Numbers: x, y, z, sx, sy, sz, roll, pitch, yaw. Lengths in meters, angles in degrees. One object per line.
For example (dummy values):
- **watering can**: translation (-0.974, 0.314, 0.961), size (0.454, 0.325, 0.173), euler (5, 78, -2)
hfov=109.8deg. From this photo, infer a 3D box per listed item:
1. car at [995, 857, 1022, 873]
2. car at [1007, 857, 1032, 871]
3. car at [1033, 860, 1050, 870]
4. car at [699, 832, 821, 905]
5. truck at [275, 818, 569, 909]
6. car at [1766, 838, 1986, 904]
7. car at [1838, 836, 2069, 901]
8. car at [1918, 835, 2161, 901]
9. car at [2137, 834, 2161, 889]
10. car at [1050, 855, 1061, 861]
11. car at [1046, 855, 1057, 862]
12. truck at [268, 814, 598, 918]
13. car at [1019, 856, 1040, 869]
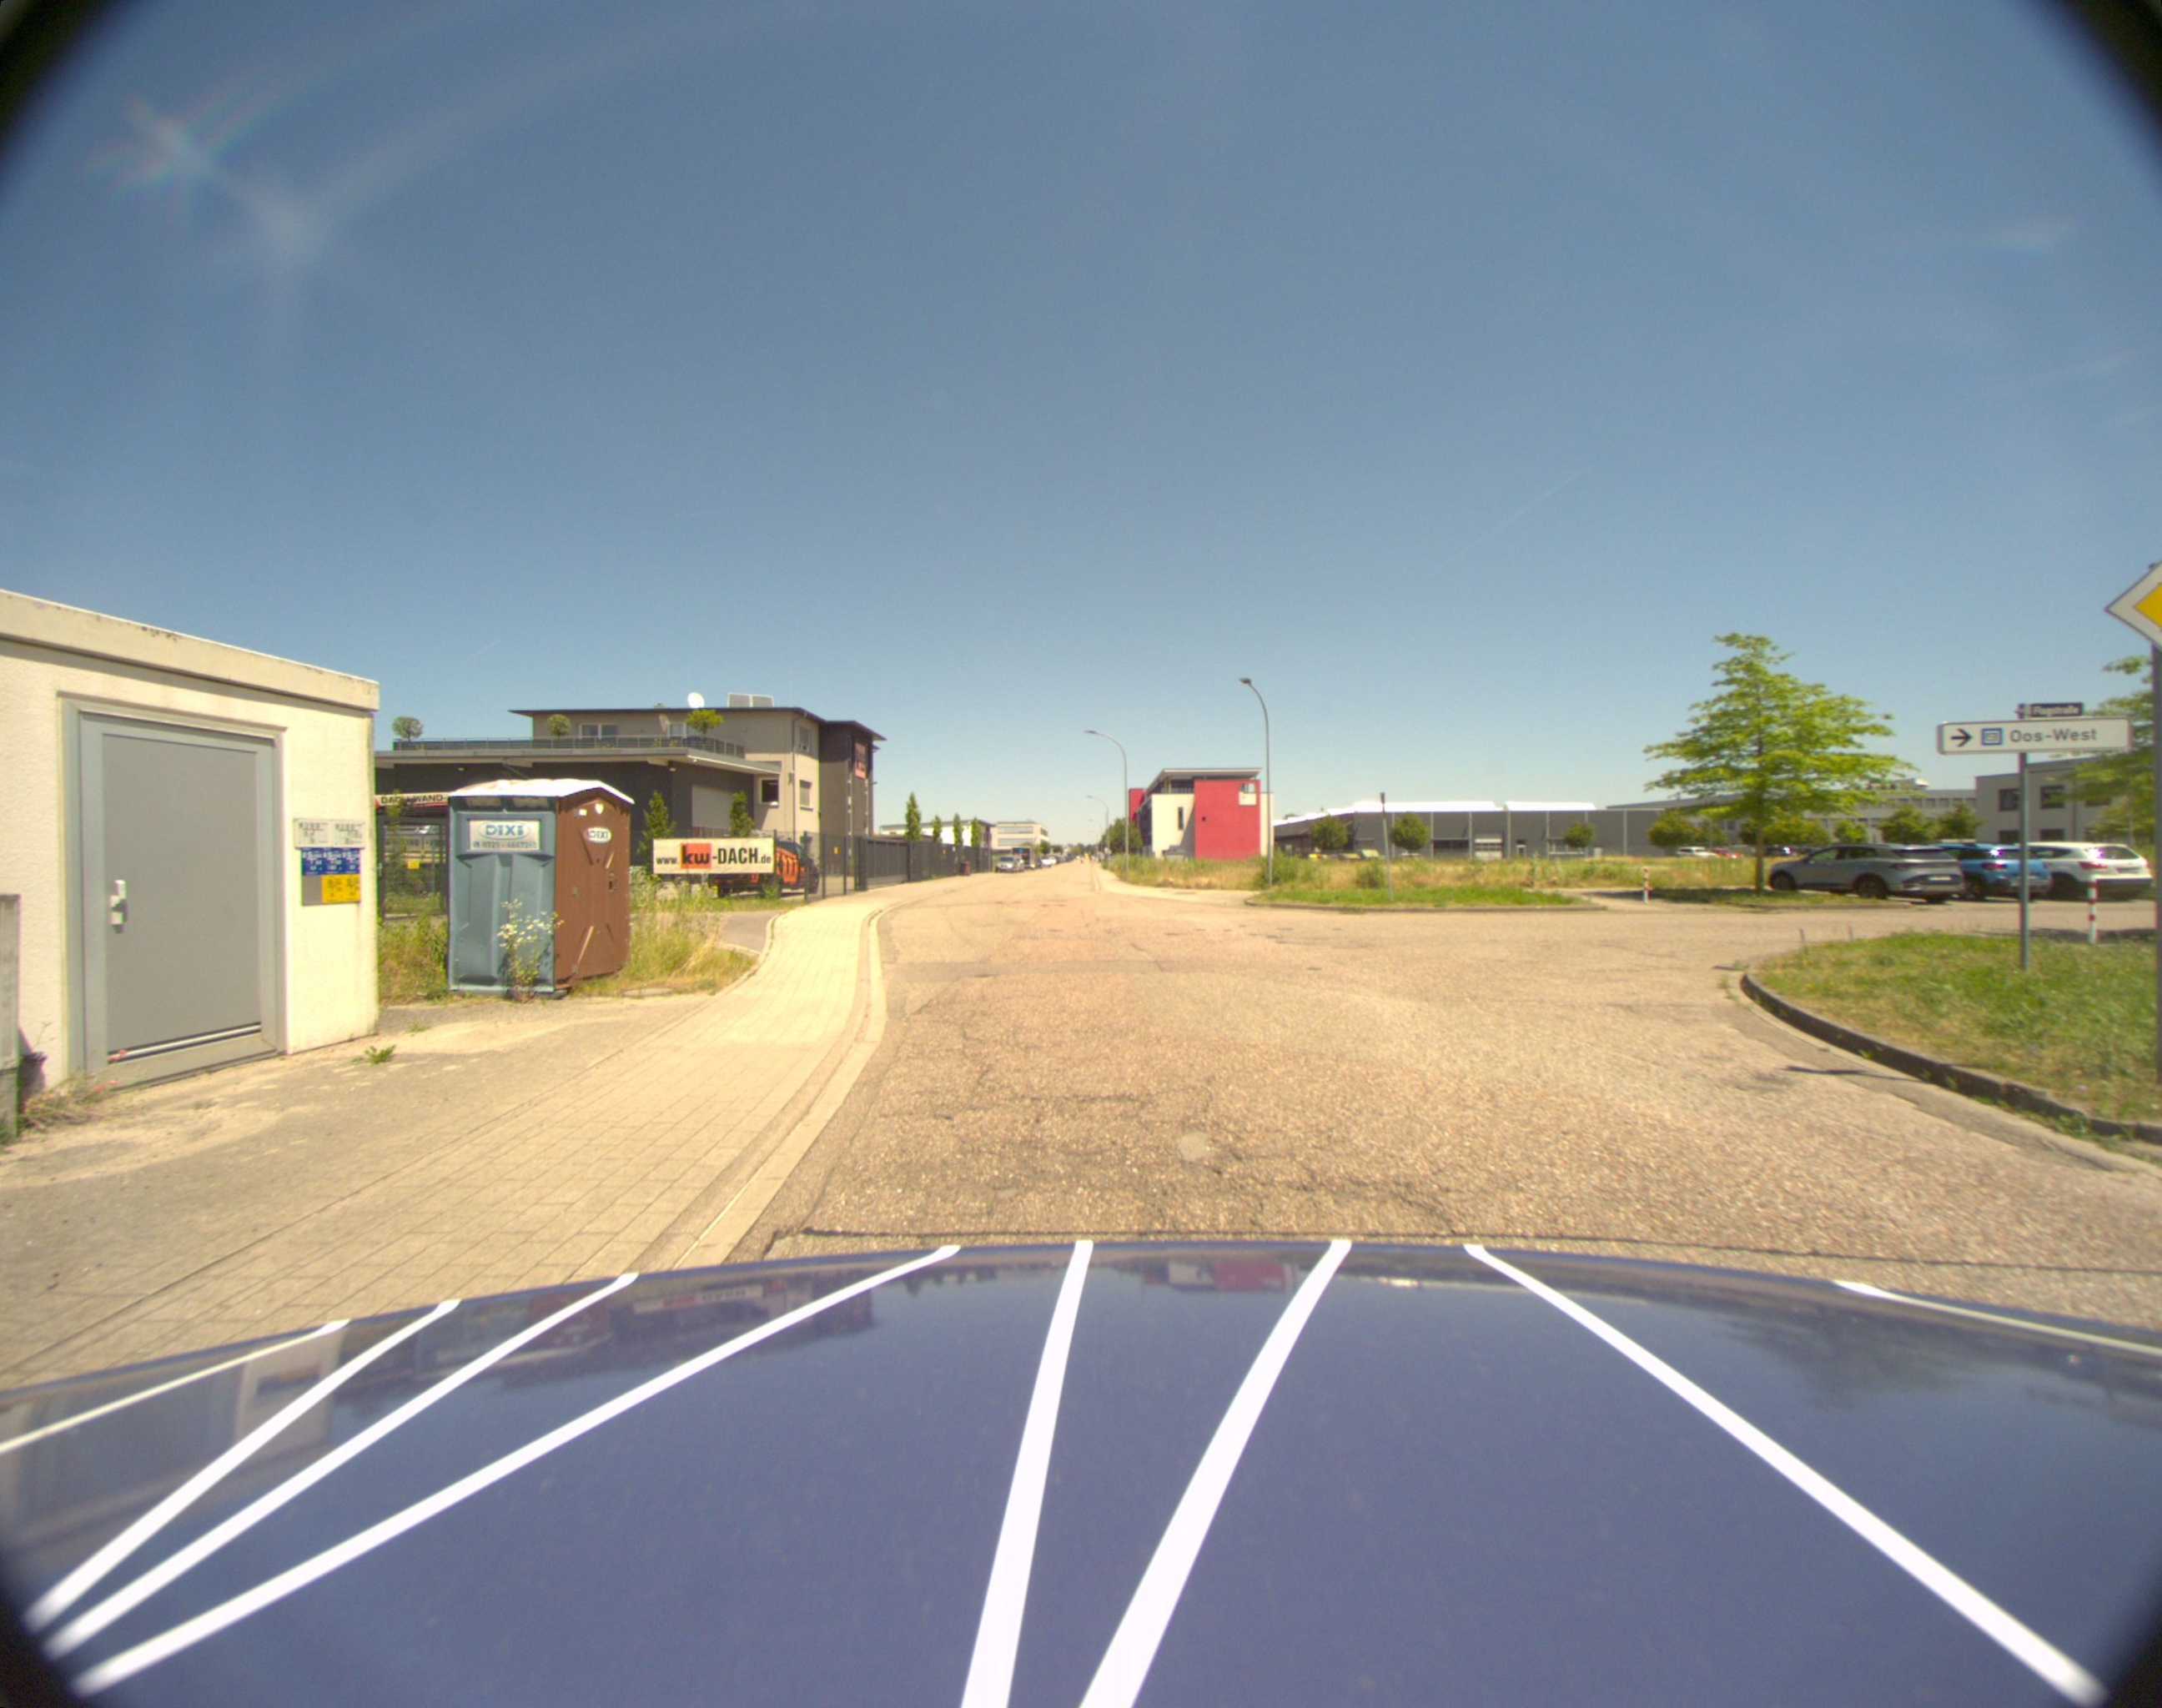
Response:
- **car**: translation (-6.205, 0.939, 65.322), size (1.828, 1.269, 3.886), euler (0, 0, 1)
- **car**: translation (-5.634, 0.923, 70.150), size (1.828, 1.269, 3.886), euler (0, 0, 1)
- **car**: translation (-5.124, 1.400, 98.515), size (1.828, 1.269, 3.886), euler (0, 0, 1)
- **car**: translation (-10.383, 0.436, 25.042), size (1.919, 2.149, 4.780), euler (-1, 0, 1)
- **truck**: translation (-25.064, 0.360, 29.181), size (8.966, 3.158, 2.690), euler (-1, 0, 1)
- **car**: translation (22.703, 0.444, 21.990), size (1.956, 1.688, 4.309), euler (-1, 0, 3)
- **car**: translation (25.326, 0.372, 22.349), size (1.956, 1.688, 4.309), euler (-1, 0, 3)
- **car**: translation (27.743, 0.368, 22.182), size (1.956, 1.688, 4.309), euler (-1, 0, 3)
- **car**: translation (34.430, 0.212, 22.004), size (1.956, 1.688, 4.205), euler (-1, 0, 3)
- **car**: translation (-4.923, 0.757, 145.037), size (1.828, 1.269, 3.886), euler (0, 0, 1)
- **car**: translation (-5.373, 0.871, 139.141), size (1.828, 1.269, 3.886), euler (0, 0, 1)
- **truck**: translation (-20.525, 0.378, 24.375), size (8.354, 3.004, 2.625), euler (-1, 0, 1)
- **car**: translation (-5.599, 0.920, 83.042), size (1.828, 1.269, 3.886), euler (0, 0, 1)
